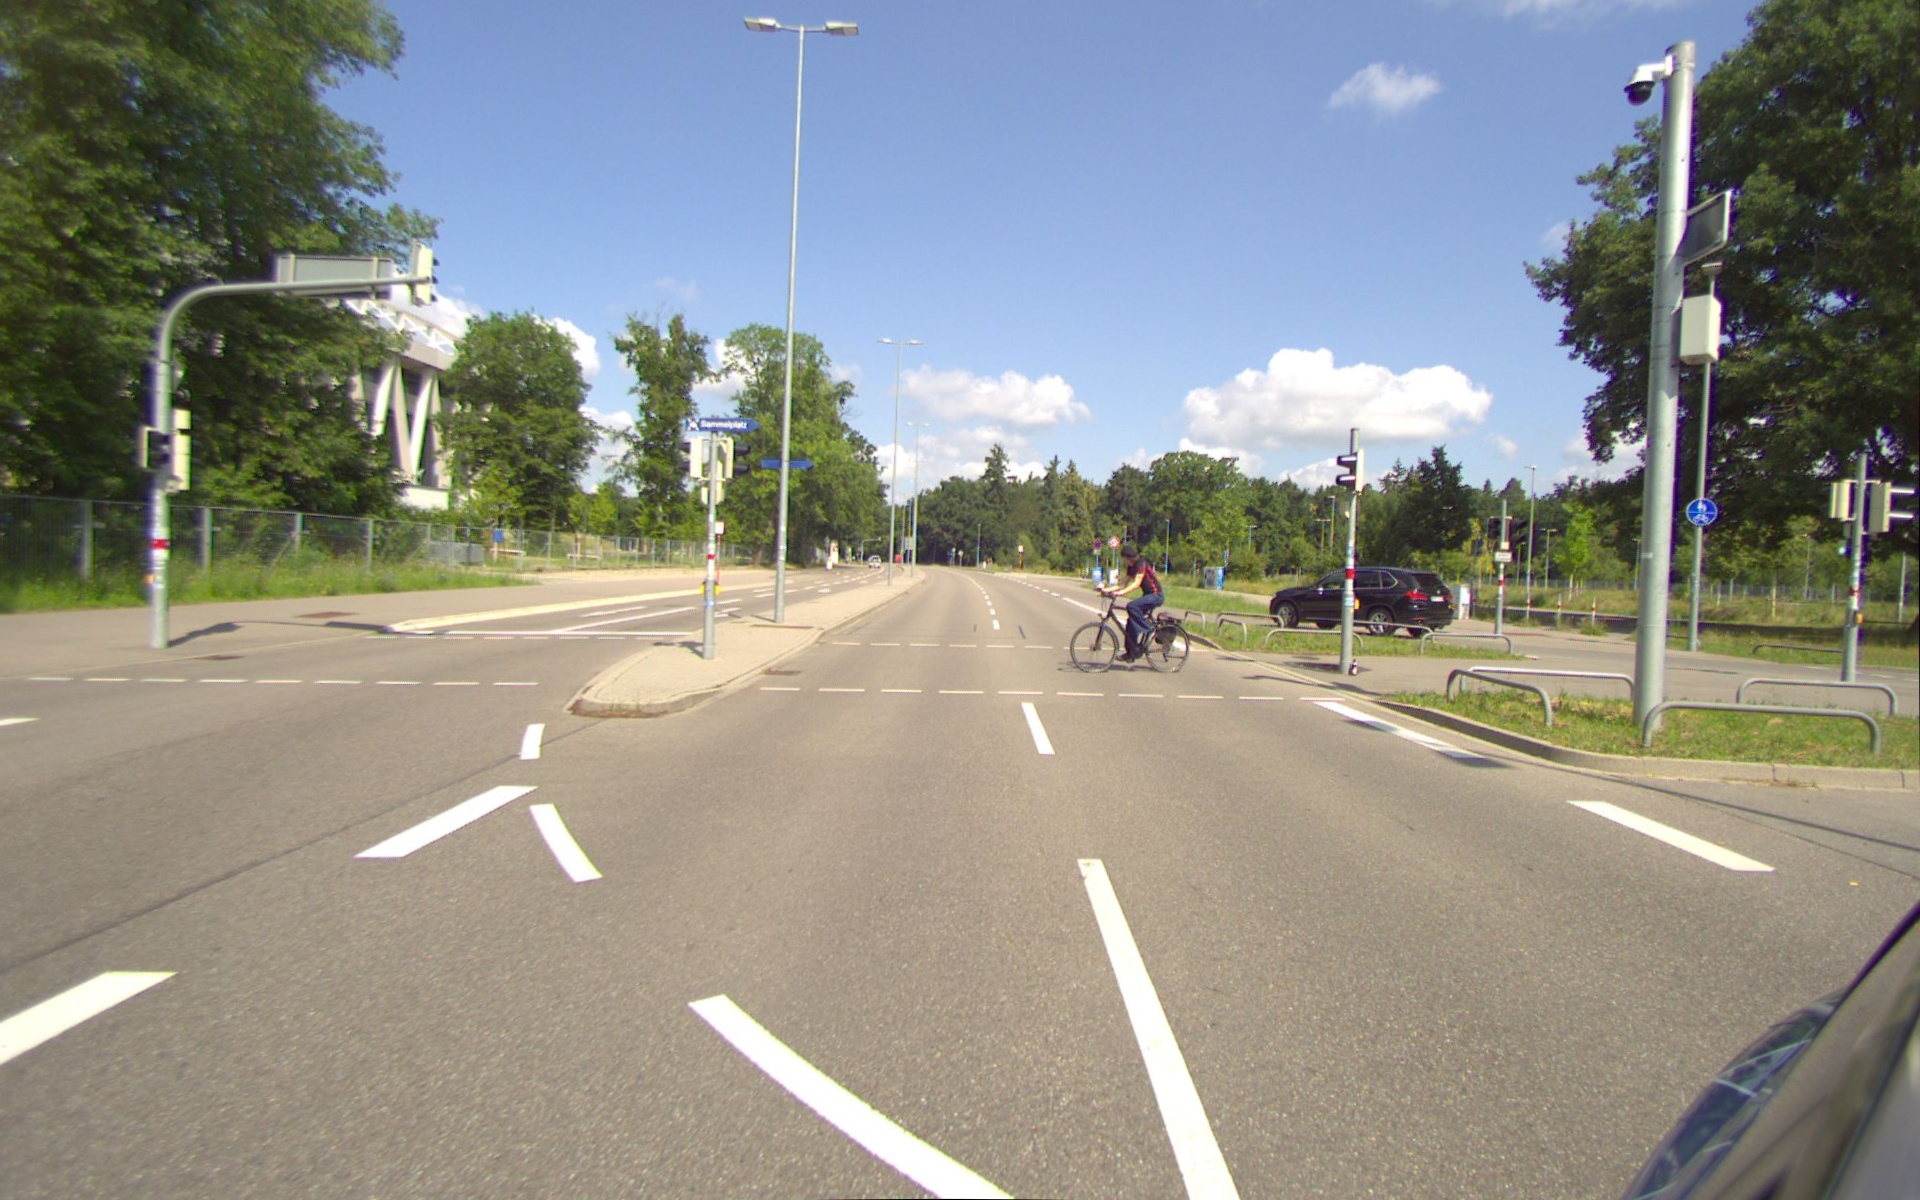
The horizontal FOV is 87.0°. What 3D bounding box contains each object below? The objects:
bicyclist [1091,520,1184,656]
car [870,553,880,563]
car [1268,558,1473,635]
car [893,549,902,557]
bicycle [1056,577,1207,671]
[{"bbox_3d":[2.466,-0.186,14.123,0.958,1.819,0.890,0,3,-14],"label":"bicyclist"},{"bbox_3d":[-13.263,-6.527,158.029,1.549,1.497,3.575,1,3,-4],"label":"car"},{"bbox_3d":[10.463,-0.166,26.191,1.942,1.786,4.714,0,2,-30],"label":"car"},{"bbox_3d":[-12.313,-9.293,198.977,1.550,1.497,3.573,1,3,-1],"label":"car"},{"bbox_3d":[2.376,0.310,14.124,1.857,1.220,0.885,0,3,-14],"label":"bicycle"}]
